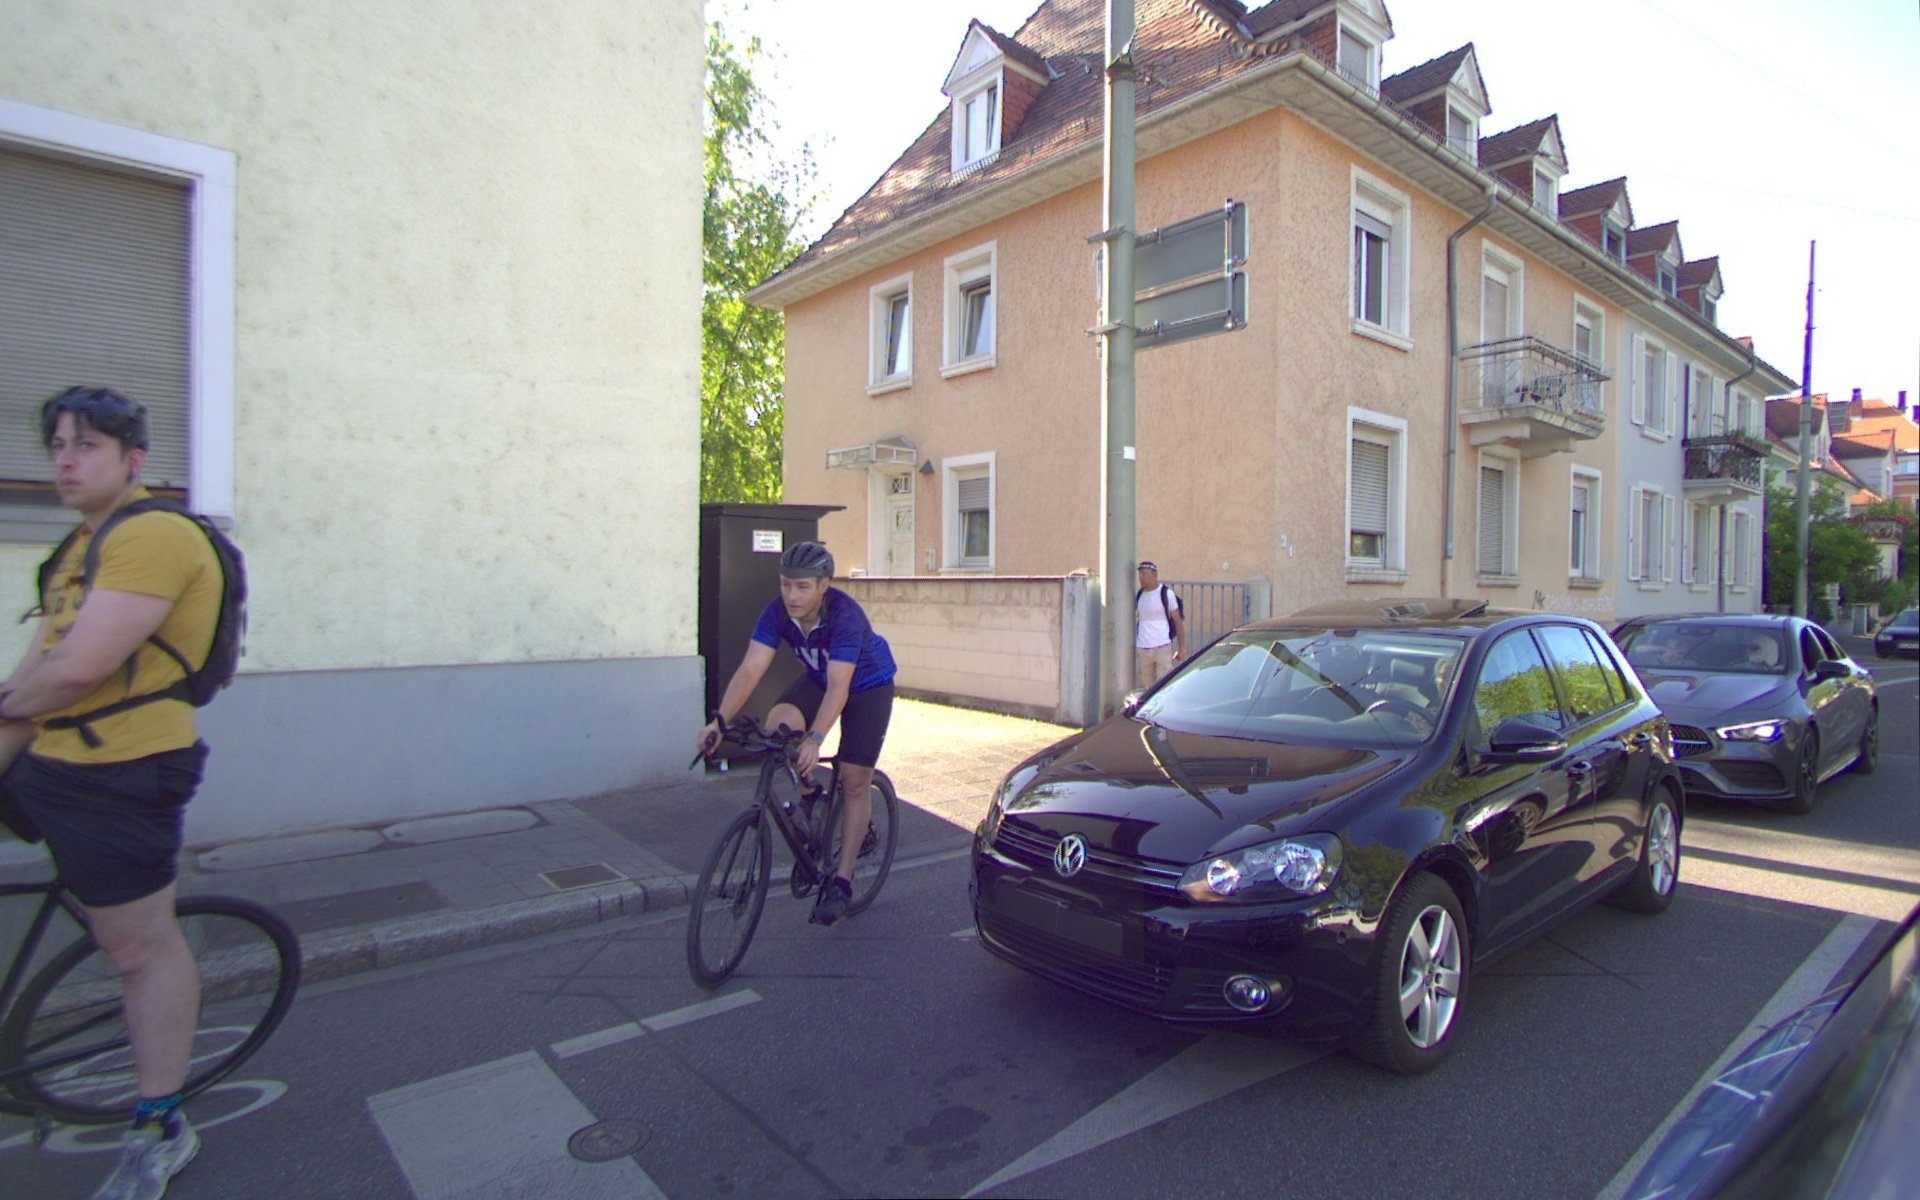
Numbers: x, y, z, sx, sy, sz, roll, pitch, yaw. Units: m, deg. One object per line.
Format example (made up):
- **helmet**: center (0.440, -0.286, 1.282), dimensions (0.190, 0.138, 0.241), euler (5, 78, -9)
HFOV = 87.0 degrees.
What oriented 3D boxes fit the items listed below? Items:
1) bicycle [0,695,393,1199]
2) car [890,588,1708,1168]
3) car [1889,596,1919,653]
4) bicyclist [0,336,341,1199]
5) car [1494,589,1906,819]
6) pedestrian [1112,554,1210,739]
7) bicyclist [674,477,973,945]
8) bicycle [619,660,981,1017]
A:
- **bicycle**: center (-2.419, 0.876, 2.393), dimensions (0.777, 1.120, 1.720), euler (0, 0, 36)
- **car**: center (1.767, 0.685, 4.507), dimensions (3.921, 1.456, 1.716), euler (-1, 0, -41)
- **car**: center (26.760, 0.628, 27.435), dimensions (4.258, 1.448, 1.824), euler (-1, 0, -40)
- **bicyclist**: center (-2.171, 0.437, 2.578), dimensions (0.777, 1.991, 0.768), euler (0, 0, 36)
- **car**: center (6.389, 0.679, 8.531), dimensions (4.410, 1.449, 1.824), euler (1, 0, -40)
- **pedestrian**: center (1.879, 0.411, 9.568), dimensions (0.599, 1.624, 0.762), euler (3, 5, -4)
- **bicyclist**: center (-0.583, 0.382, 4.287), dimensions (1.014, 1.715, 0.720), euler (3, 2, 36)
- **bicycle**: center (-0.595, 0.872, 4.304), dimensions (0.552, 1.089, 1.605), euler (3, 2, 35)
